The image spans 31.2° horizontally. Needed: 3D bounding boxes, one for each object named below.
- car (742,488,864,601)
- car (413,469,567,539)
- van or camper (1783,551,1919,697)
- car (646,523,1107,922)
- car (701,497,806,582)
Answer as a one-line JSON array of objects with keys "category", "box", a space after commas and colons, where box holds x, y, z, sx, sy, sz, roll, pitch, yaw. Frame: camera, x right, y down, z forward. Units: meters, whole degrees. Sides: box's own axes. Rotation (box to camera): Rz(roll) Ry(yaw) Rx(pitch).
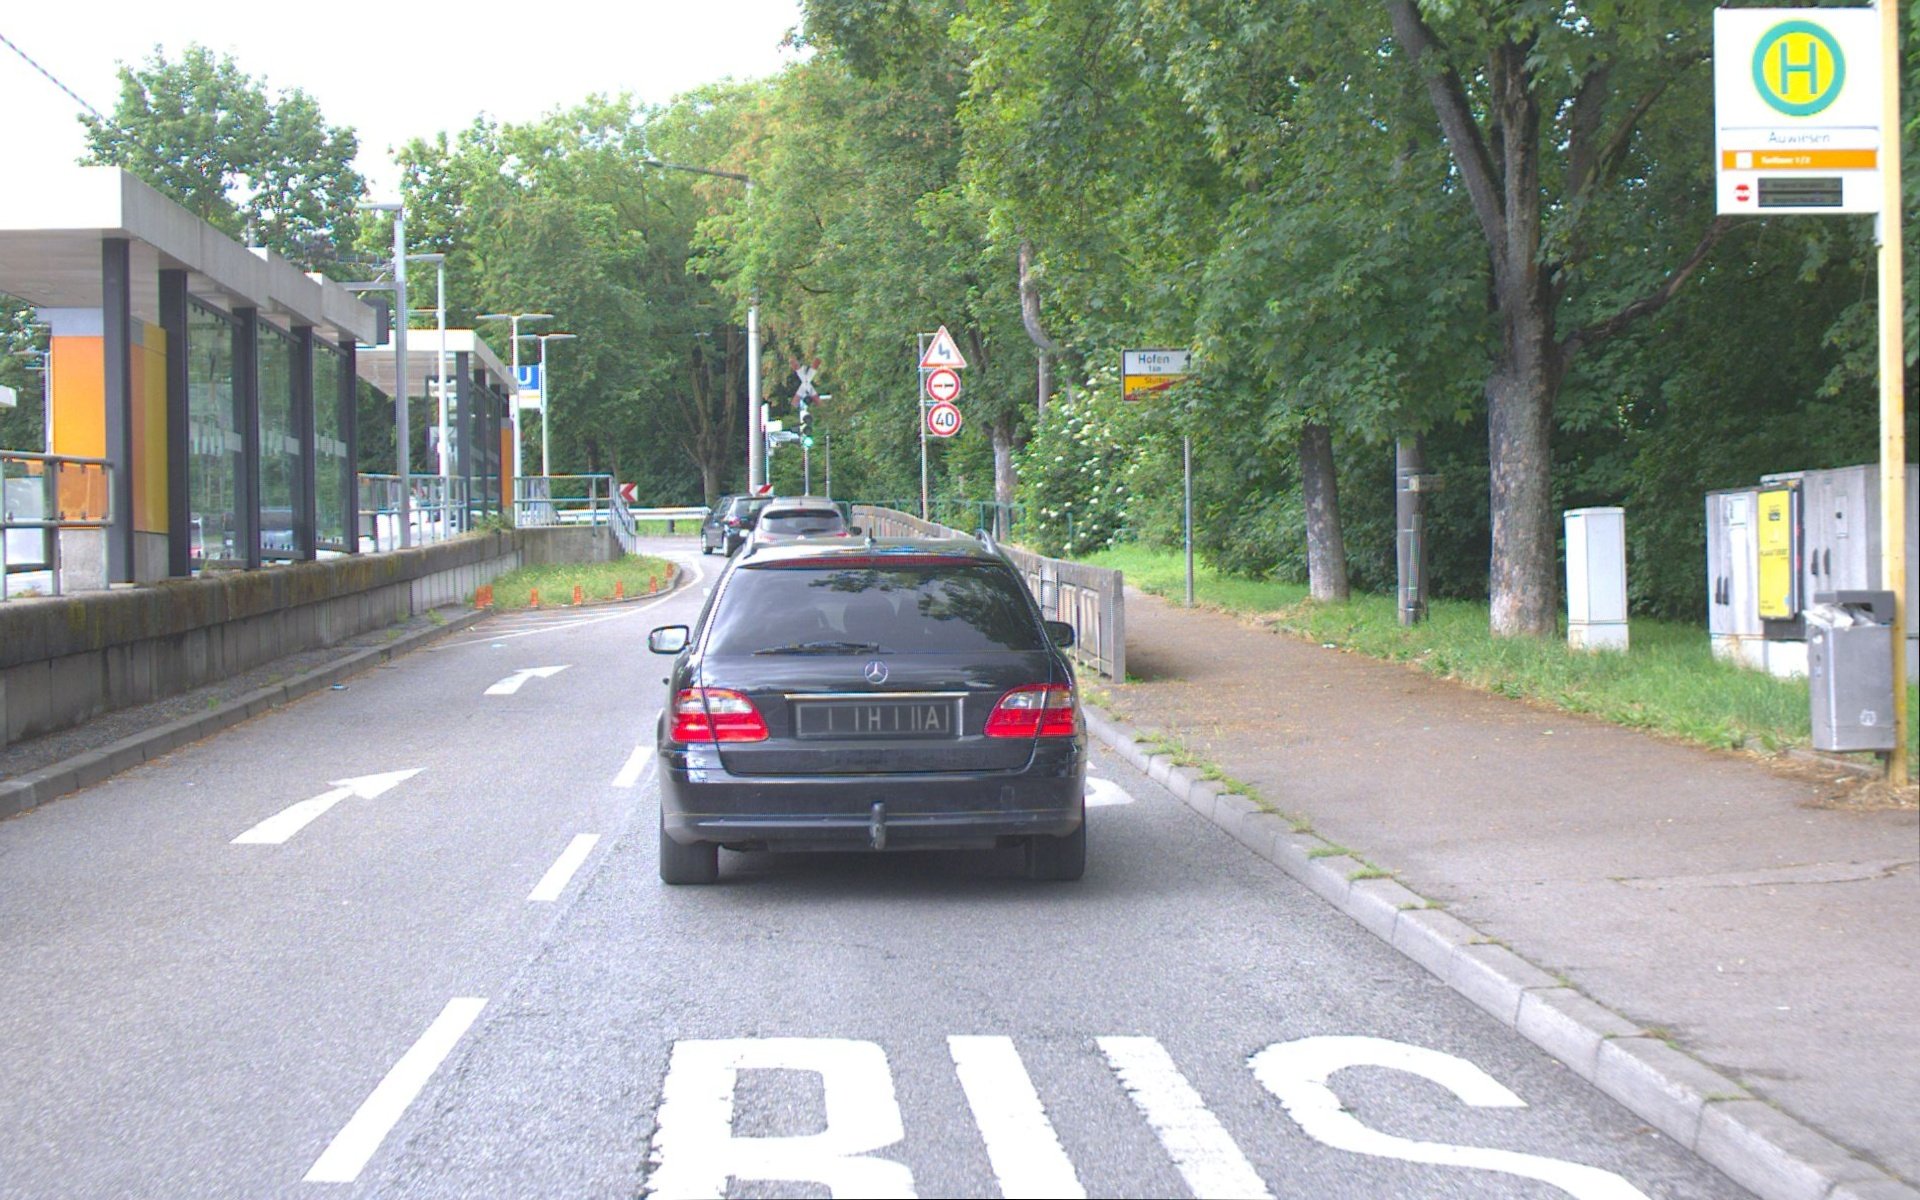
[{"category": "car", "box": [-2.521, -0.907, 54.655, 1.781, 1.642, 4.001, 3, 2, -3]}, {"category": "car", "box": [-13.314, -2.714, 97.341, 3.995, 1.886, 1.996, 2, 0, 34]}, {"category": "van or camper", "box": [13.981, 0.331, 48.754, 2.177, 2.007, 5.842, 1, 0, -12]}, {"category": "car", "box": [-0.492, 0.429, 15.373, 1.781, 1.520, 4.001, -1, 1, -5]}, {"category": "car", "box": [-4.879, -1.411, 80.785, 1.993, 1.911, 4.001, 1, 0, -10]}]
